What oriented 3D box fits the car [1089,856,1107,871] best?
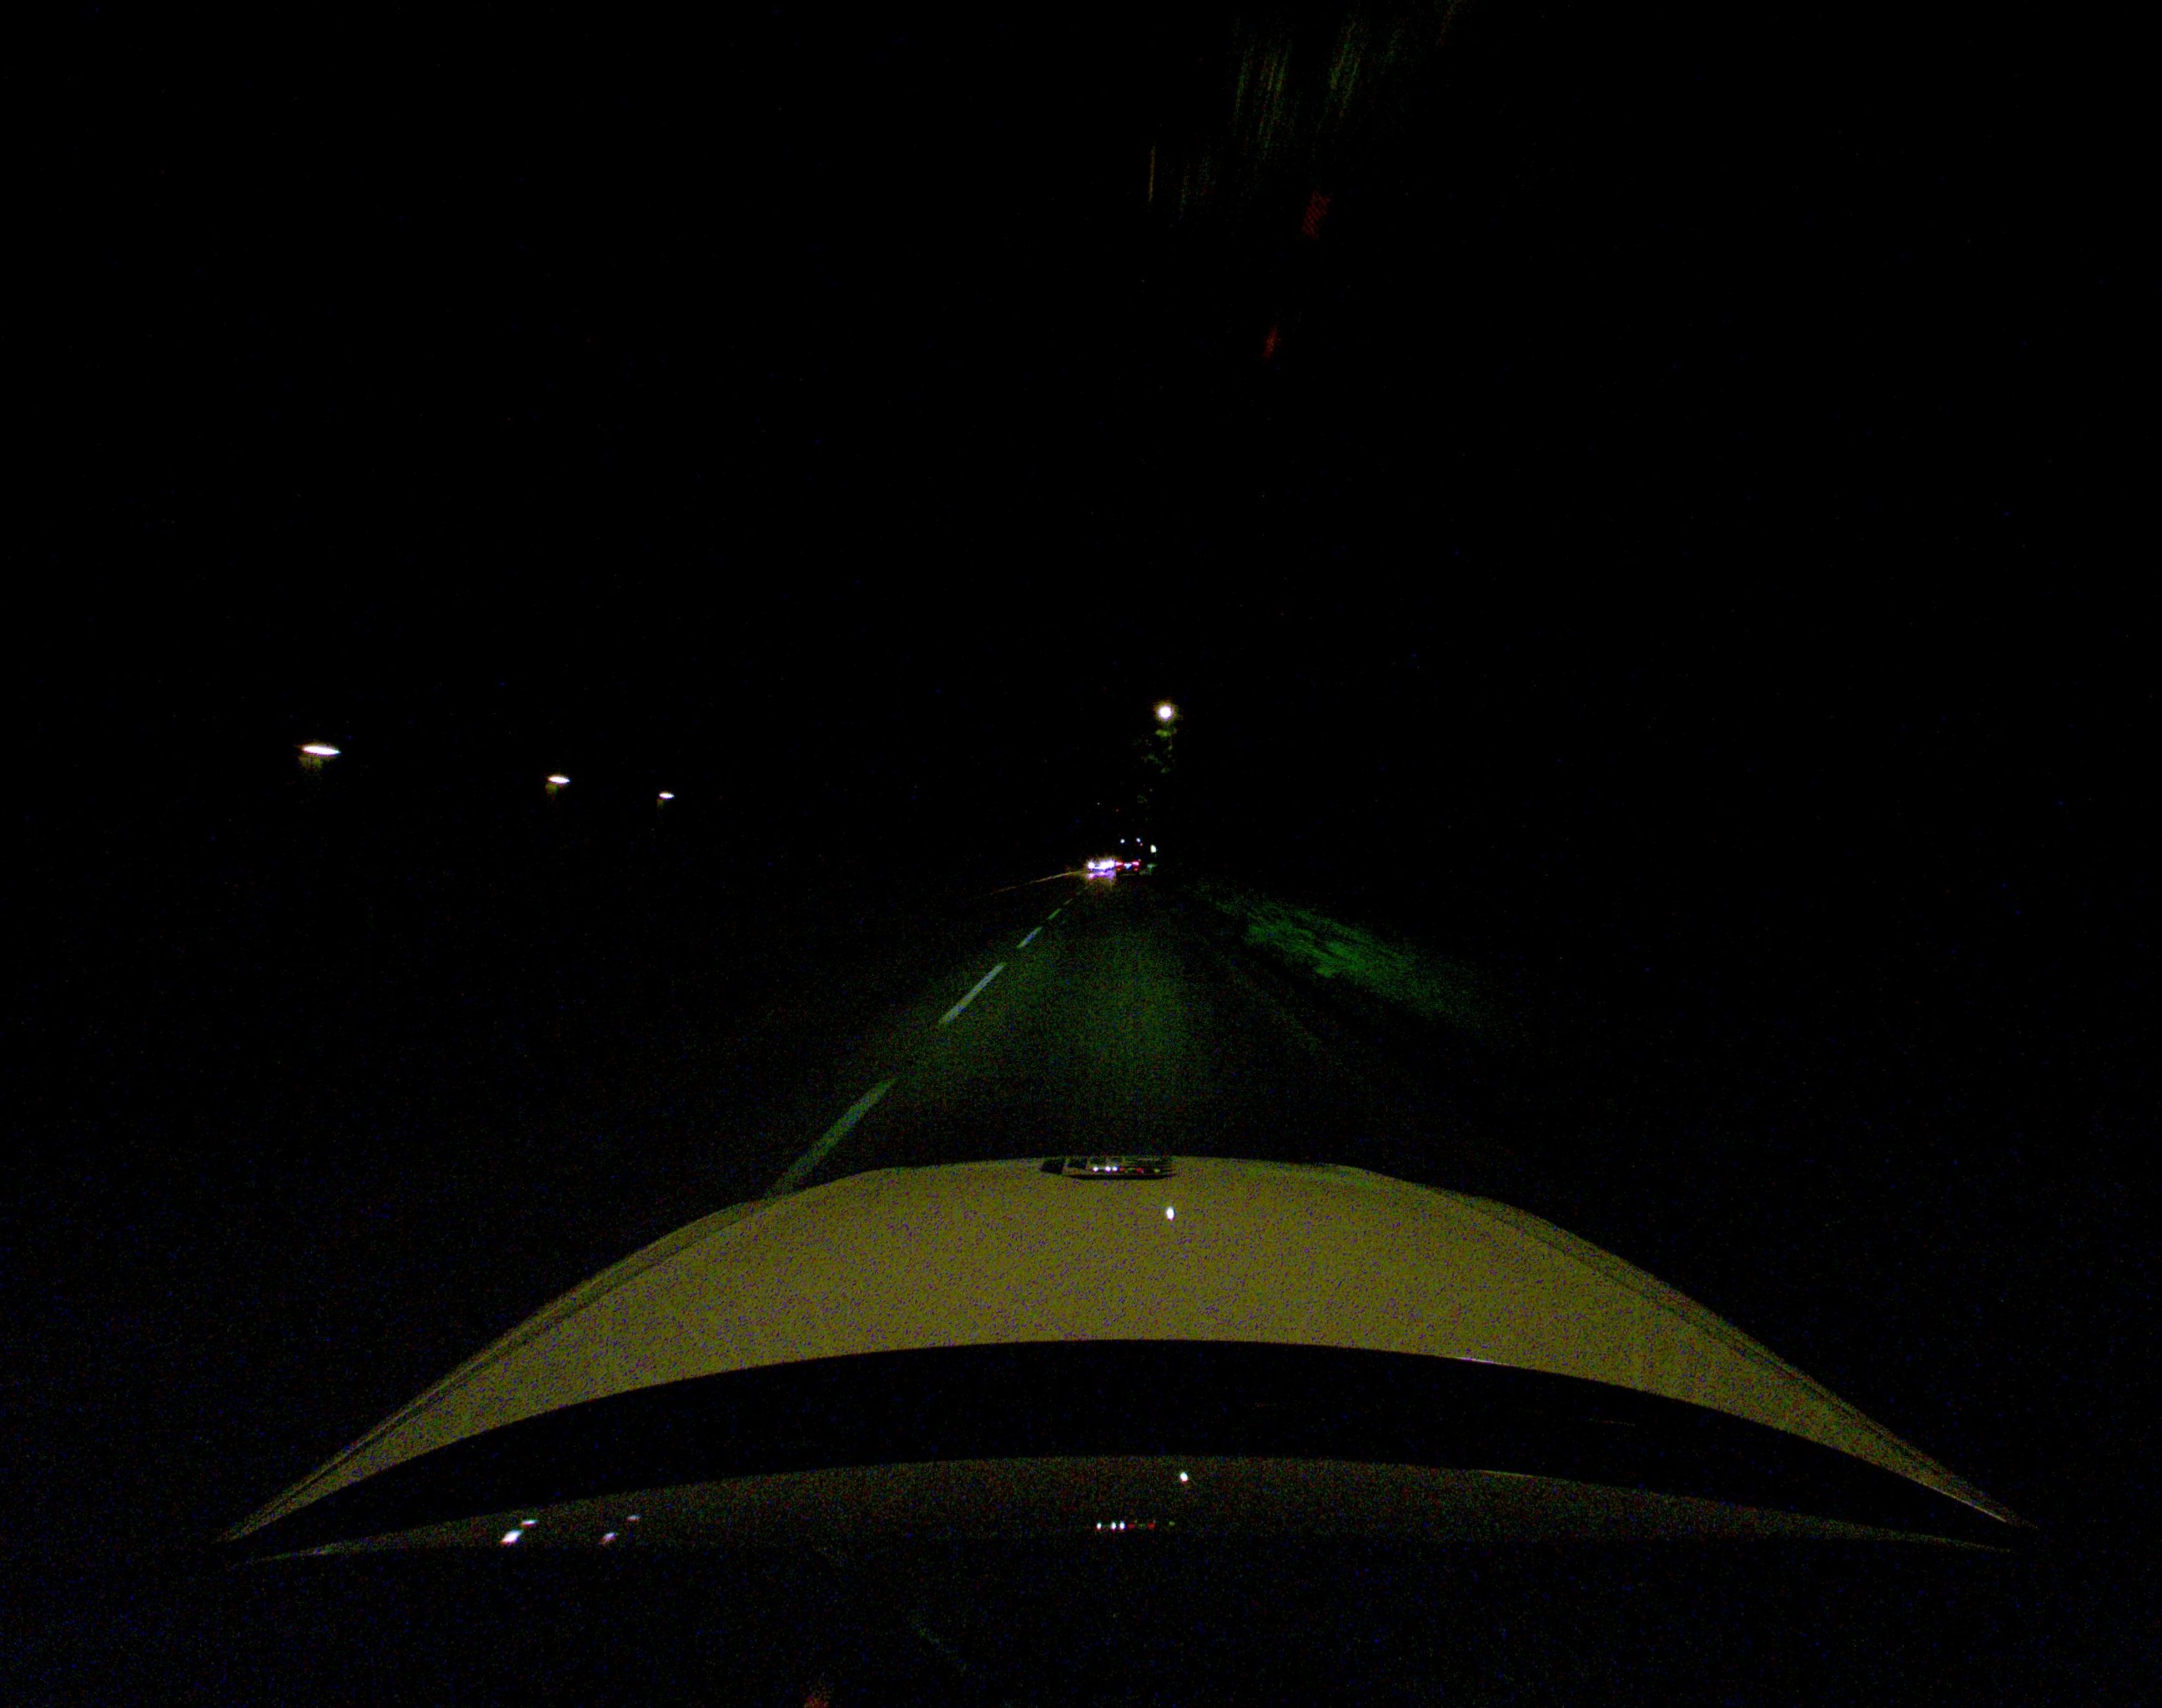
[{"bbox_3d":[1.743,1.009,83.571,1.680,1.457,4.004,-1,-1,3],"label":"car"}]

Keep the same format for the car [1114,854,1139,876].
[{"bbox_3d":[3.458,0.821,62.381,1.757,1.642,3.723,-1,-1,1],"label":"car"}]

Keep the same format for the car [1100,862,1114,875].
[{"bbox_3d":[3.158,1.816,99.921,1.641,1.491,3.559,-1,0,2],"label":"car"}]
